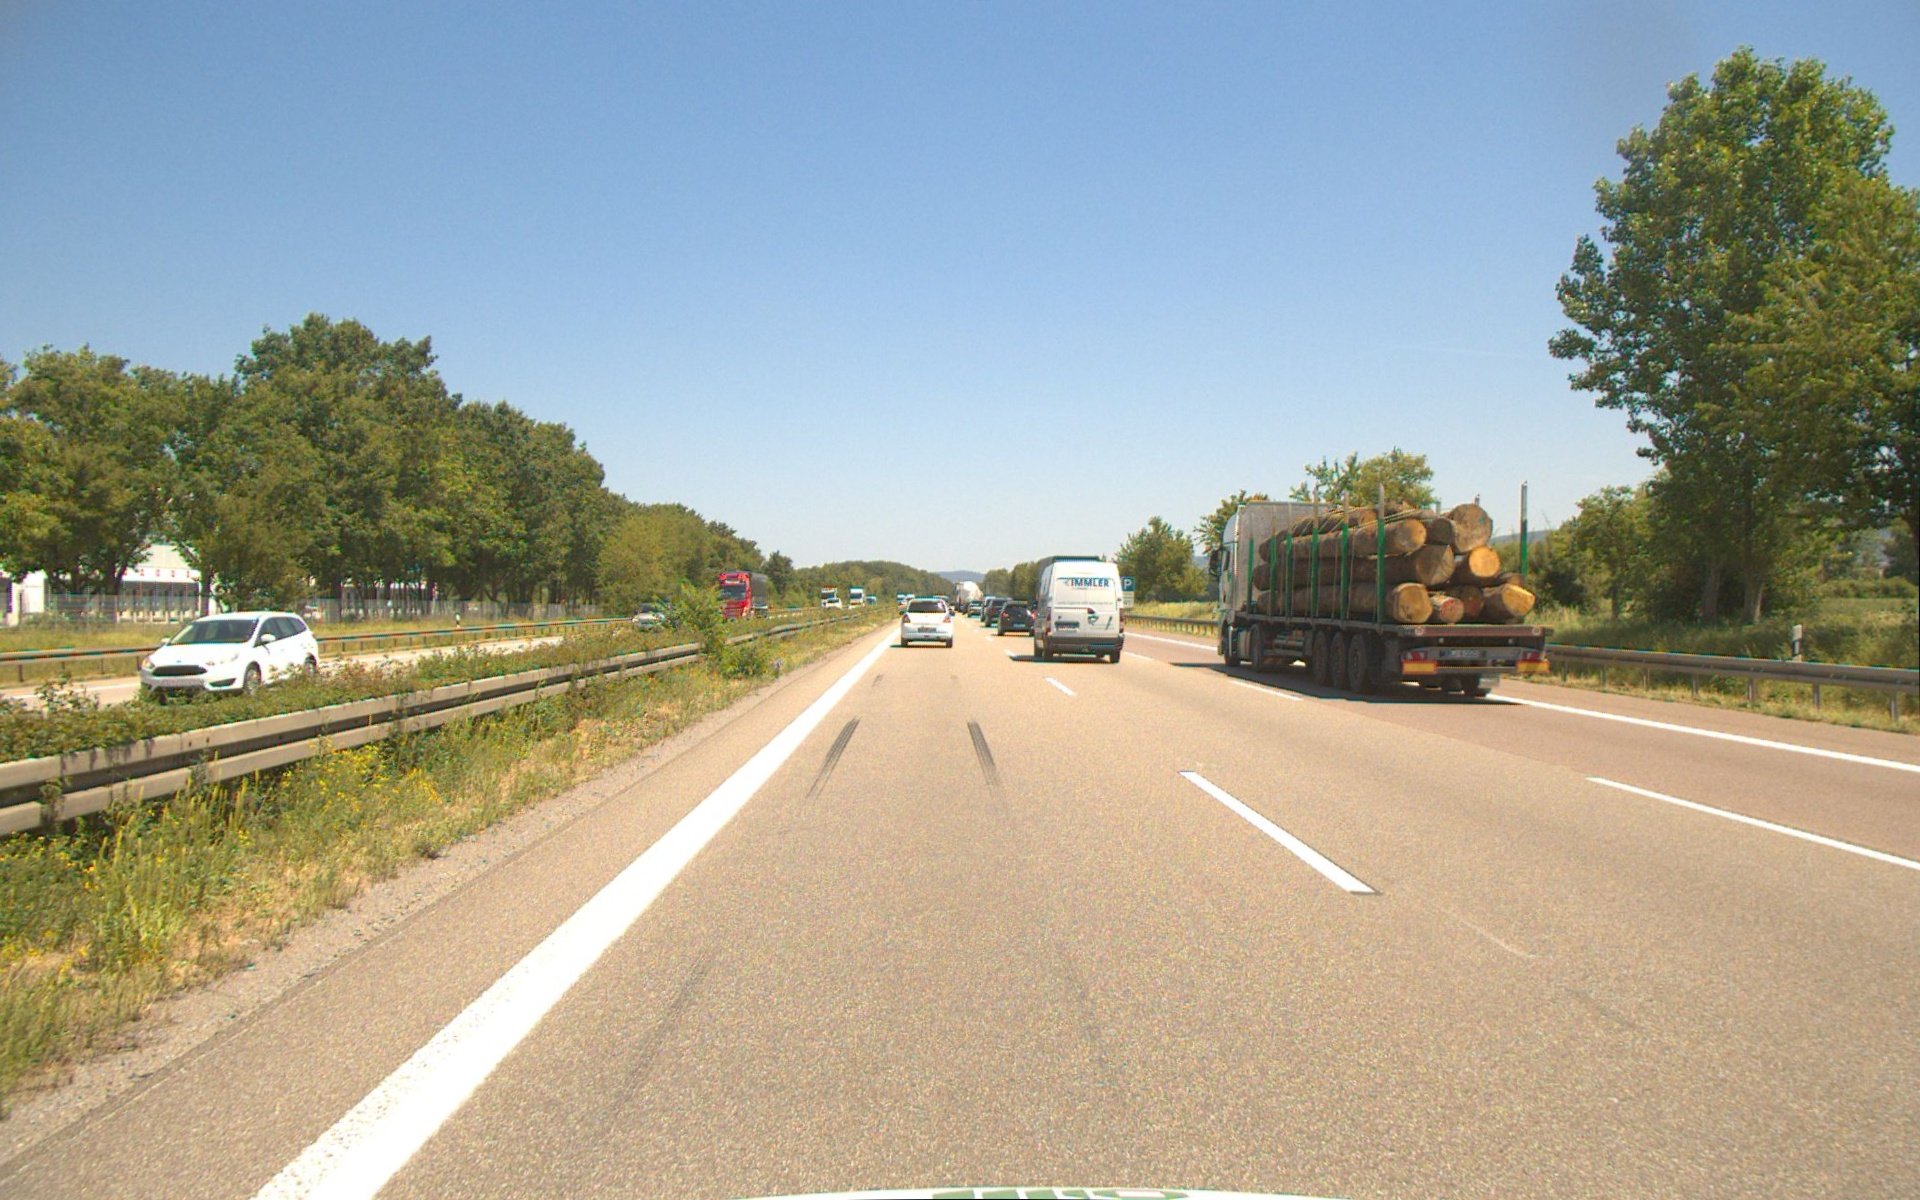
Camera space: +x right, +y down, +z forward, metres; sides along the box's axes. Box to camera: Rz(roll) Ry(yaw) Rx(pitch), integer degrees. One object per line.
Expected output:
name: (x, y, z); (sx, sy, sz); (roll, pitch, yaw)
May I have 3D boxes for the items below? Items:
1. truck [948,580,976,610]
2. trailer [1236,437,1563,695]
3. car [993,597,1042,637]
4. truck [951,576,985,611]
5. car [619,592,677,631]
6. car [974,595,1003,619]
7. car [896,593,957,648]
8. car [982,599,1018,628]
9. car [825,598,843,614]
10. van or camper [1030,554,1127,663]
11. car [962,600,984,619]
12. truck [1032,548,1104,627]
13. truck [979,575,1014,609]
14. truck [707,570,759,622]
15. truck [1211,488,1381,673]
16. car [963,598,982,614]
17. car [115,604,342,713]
truck: (0.221, -0.755, 249.605); (3.193, 4.282, 16.831); (2, 0, -3)
trailer: (8.068, -0.538, 32.873); (2.599, 4.028, 13.633); (1, 0, -1)
car: (2.507, 0.743, 72.610); (1.820, 1.681, 3.998); (1, 0, -3)
truck: (0.969, -0.814, 215.926); (3.193, 4.282, 16.831); (2, 0, -3)
car: (-14.621, 0.526, 77.709); (1.808, 1.711, 4.813); (-2, 0, -1)
car: (2.069, 0.508, 120.235); (1.820, 1.681, 3.998); (1, 0, -3)
car: (-1.121, 0.636, 53.460); (1.820, 1.681, 3.998); (2, 0, -3)
car: (2.343, 0.782, 97.071); (1.820, 1.681, 3.998); (1, 0, -3)
car: (-15.541, 0.750, 204.284); (1.955, 1.946, 5.209); (-2, 0, -3)
van or camper: (3.050, 0.220, 43.849); (2.016, 2.668, 5.984); (1, 0, -1)
car: (1.187, 0.883, 152.056); (1.820, 1.681, 3.998); (1, 0, -3)
truck: (6.345, -0.671, 100.202); (3.016, 4.282, 16.841); (2, 0, 0)
truck: (4.795, -1.085, 221.855); (3.193, 4.282, 16.831); (2, 0, -3)
truck: (-18.583, -0.319, 135.647); (3.369, 3.999, 6.219); (-2, 0, -1)
truck: (7.941, -0.434, 39.952); (2.615, 4.064, 6.634); (1, 0, -1)
car: (1.326, 0.645, 176.625); (1.820, 1.681, 3.998); (1, 0, -3)
car: (-12.939, 0.962, 29.622); (1.954, 1.668, 4.857); (-4, 0, -2)
